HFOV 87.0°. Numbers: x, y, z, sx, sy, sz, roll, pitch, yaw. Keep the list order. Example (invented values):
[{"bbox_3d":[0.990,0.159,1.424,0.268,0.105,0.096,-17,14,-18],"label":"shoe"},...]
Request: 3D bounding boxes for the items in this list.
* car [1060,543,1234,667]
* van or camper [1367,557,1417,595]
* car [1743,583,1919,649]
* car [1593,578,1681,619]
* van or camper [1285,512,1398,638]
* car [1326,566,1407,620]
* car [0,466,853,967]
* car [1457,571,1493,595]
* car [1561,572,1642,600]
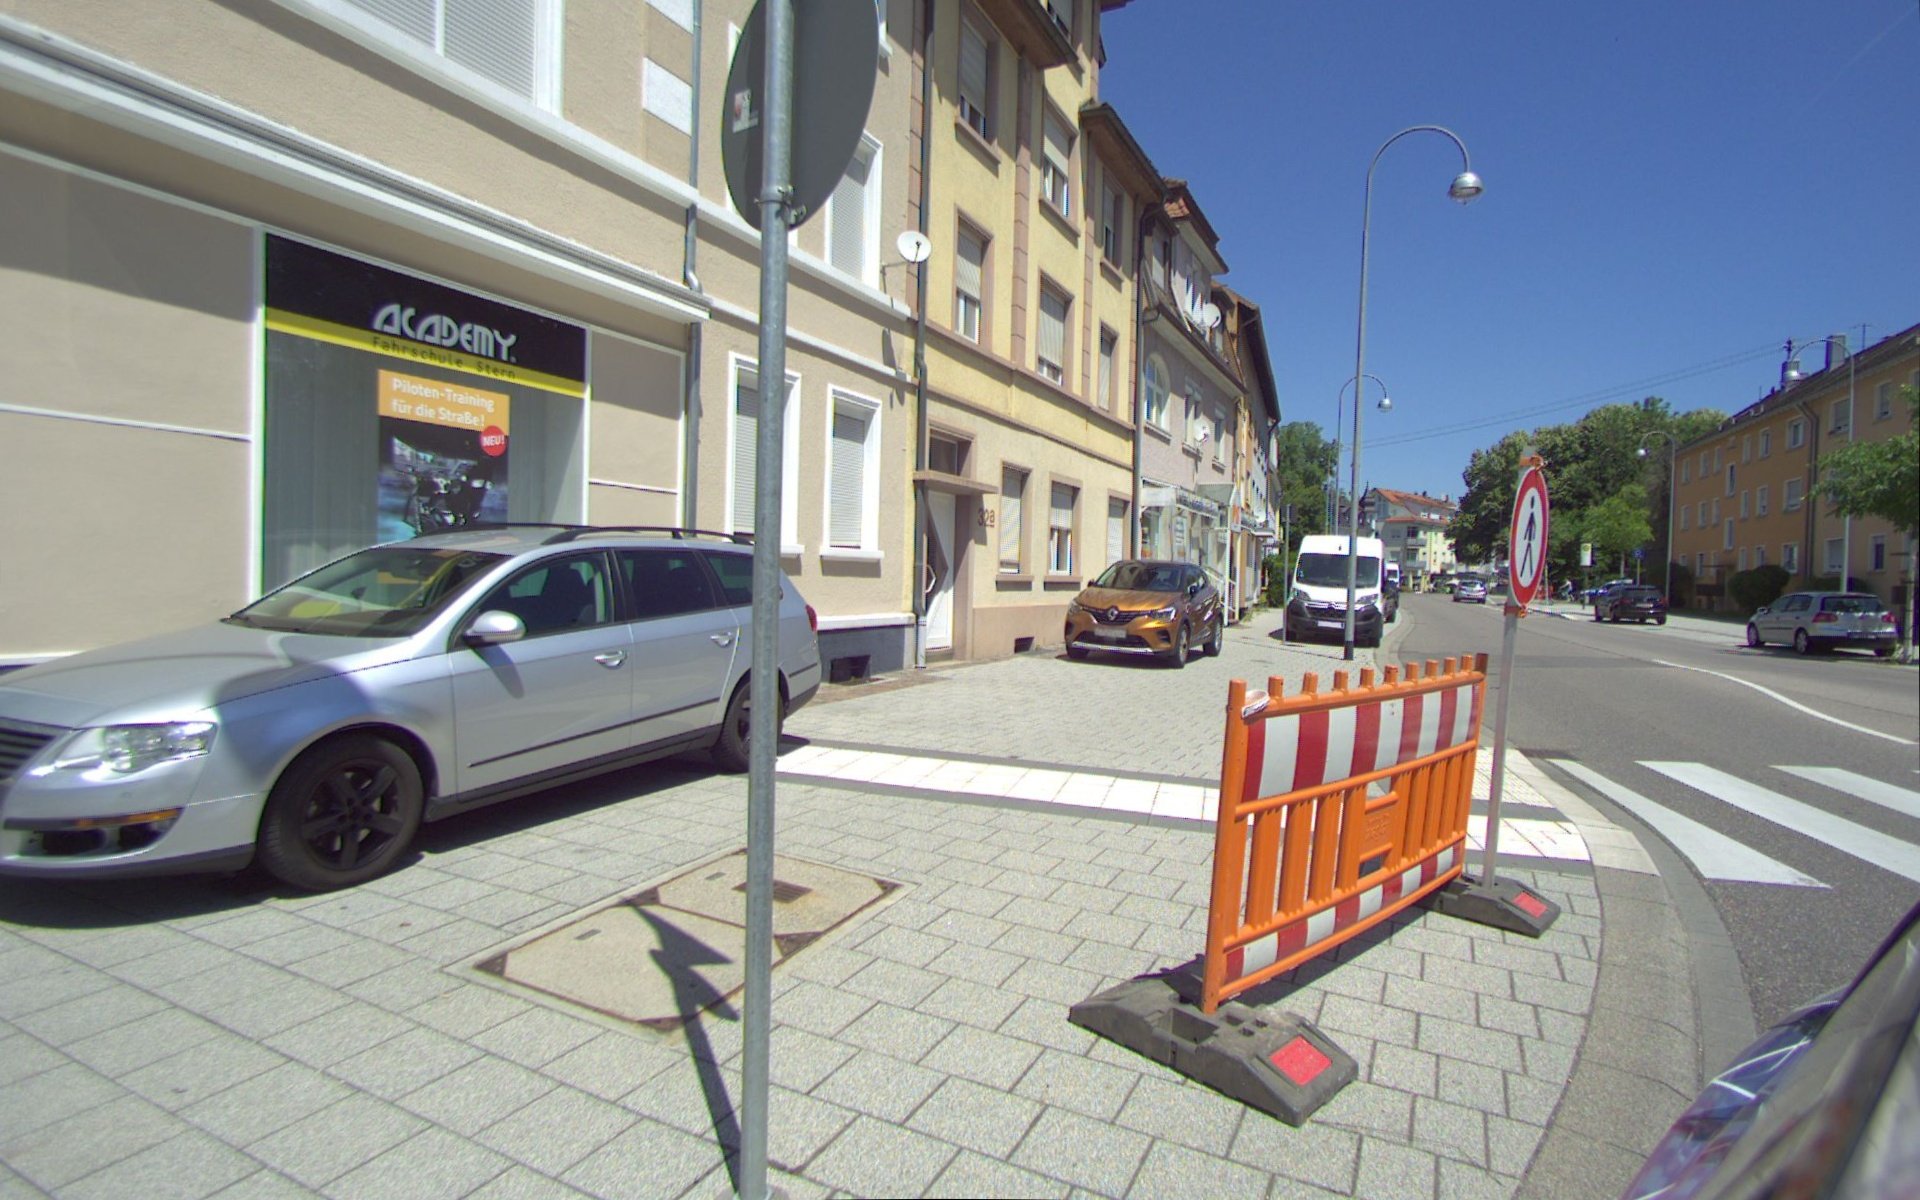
[{"bbox_3d":[3.133,0.010,16.237,1.661,1.639,4.327,4,3,25],"label":"car"},{"bbox_3d":[29.393,-1.635,69.108,2.083,2.498,6.152,1,1,13],"label":"van or camper"},{"bbox_3d":[21.008,0.317,24.418,1.972,1.438,4.067,0,1,17],"label":"car"},{"bbox_3d":[26.517,-0.090,39.802,1.840,1.525,4.532,0,1,21],"label":"car"},{"bbox_3d":[9.272,-0.619,24.302,2.148,2.620,5.721,3,2,23],"label":"van or camper"},{"bbox_3d":[13.940,-0.274,34.575,1.887,1.627,4.317,4,3,31],"label":"car"},{"bbox_3d":[-2.549,0.262,5.615,1.751,1.548,4.651,3,3,24],"label":"car"},{"bbox_3d":[33.596,-1.141,66.072,1.645,1.515,3.735,2,2,20],"label":"car"},{"bbox_3d":[45.220,-1.016,71.434,4.370,1.897,1.812,1,2,13],"label":"car"}]
